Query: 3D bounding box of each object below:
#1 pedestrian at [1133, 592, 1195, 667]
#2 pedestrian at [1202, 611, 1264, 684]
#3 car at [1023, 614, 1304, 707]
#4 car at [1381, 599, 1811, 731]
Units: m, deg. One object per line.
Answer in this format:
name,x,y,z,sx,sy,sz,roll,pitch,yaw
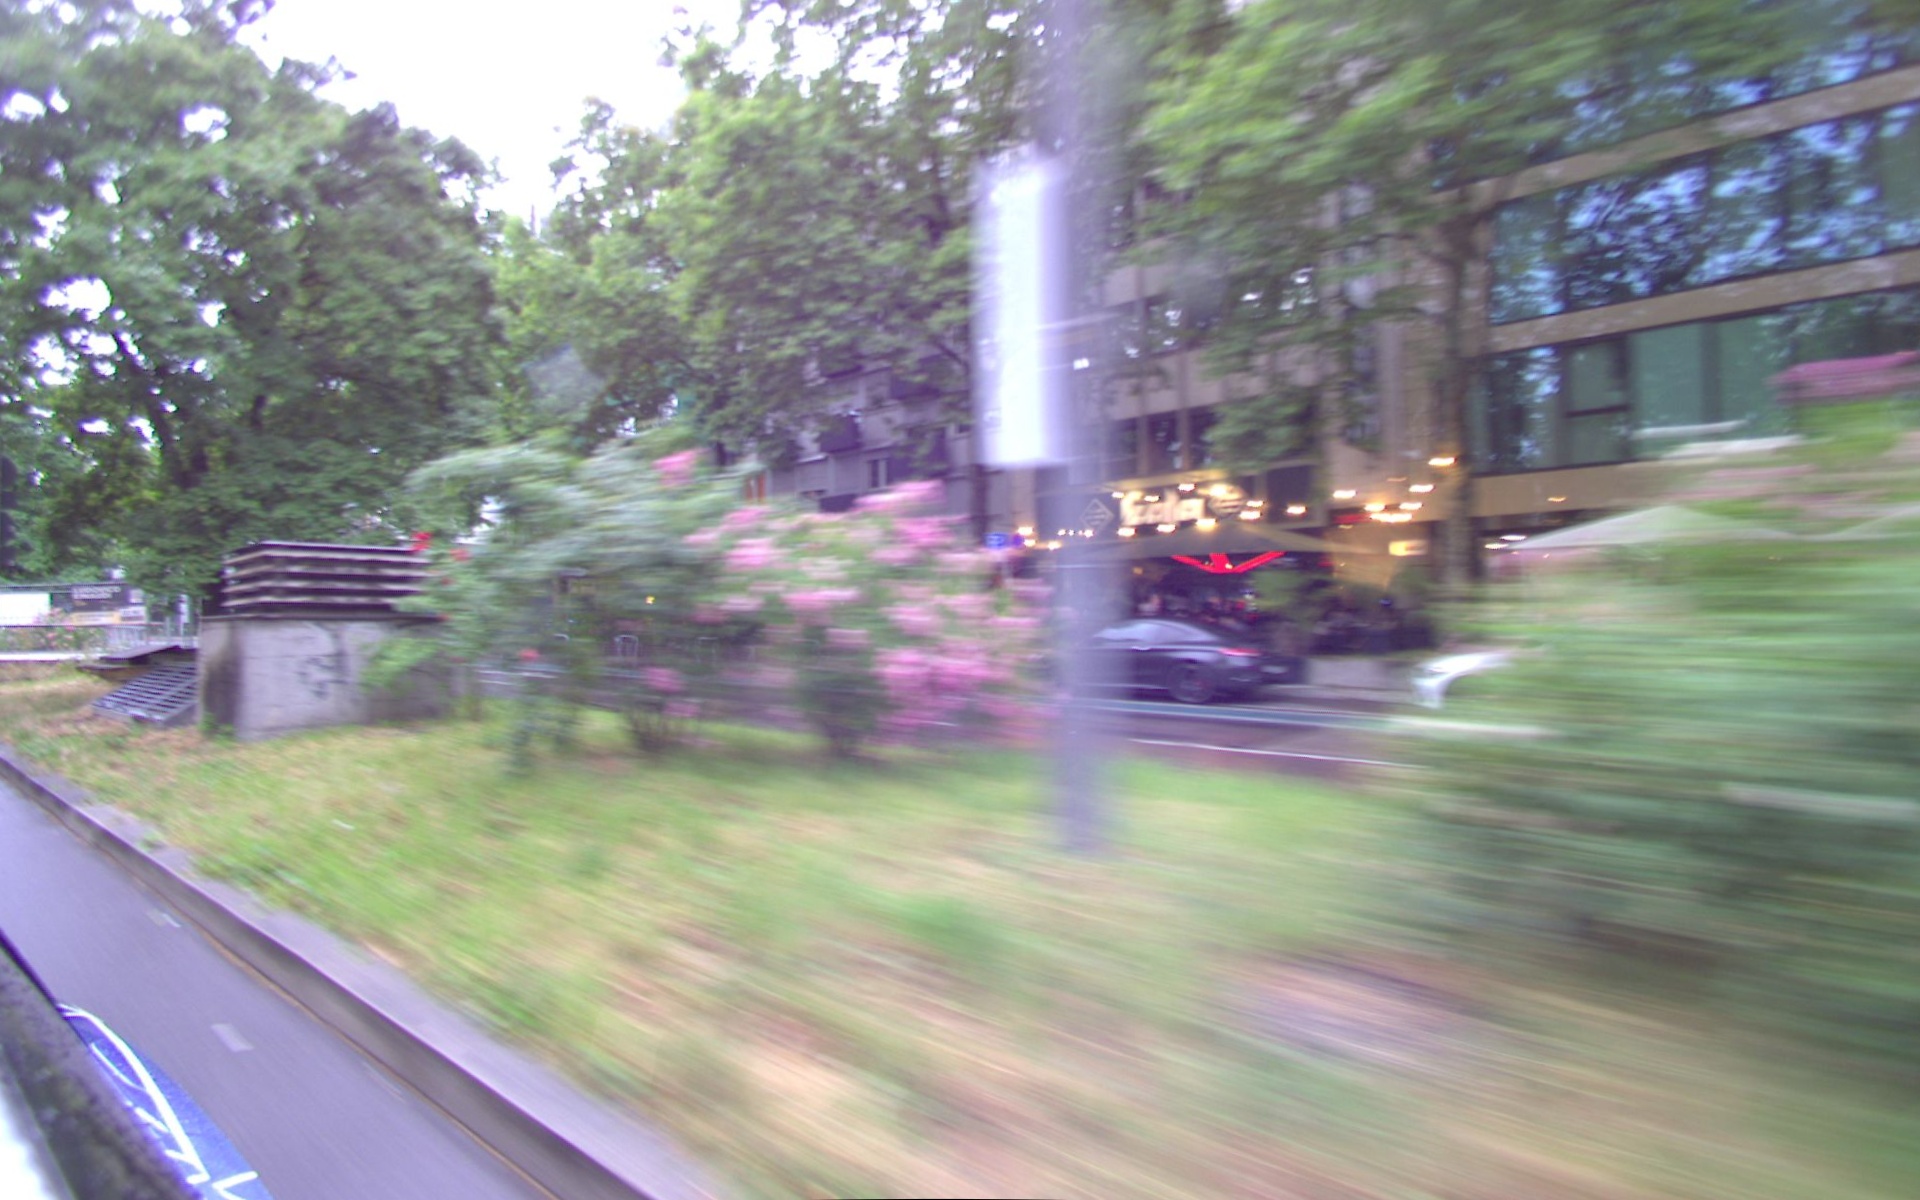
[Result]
pedestrian,4.178,0.598,20.765,0.972,1.499,0.821,-1,-1,38
pedestrian,5.374,0.923,19.937,0.932,1.390,0.756,-2,-1,38
car,3.428,0.974,17.572,4.481,1.405,1.806,-2,-1,41
car,8.234,0.767,13.356,4.537,1.380,1.973,-2,1,41
